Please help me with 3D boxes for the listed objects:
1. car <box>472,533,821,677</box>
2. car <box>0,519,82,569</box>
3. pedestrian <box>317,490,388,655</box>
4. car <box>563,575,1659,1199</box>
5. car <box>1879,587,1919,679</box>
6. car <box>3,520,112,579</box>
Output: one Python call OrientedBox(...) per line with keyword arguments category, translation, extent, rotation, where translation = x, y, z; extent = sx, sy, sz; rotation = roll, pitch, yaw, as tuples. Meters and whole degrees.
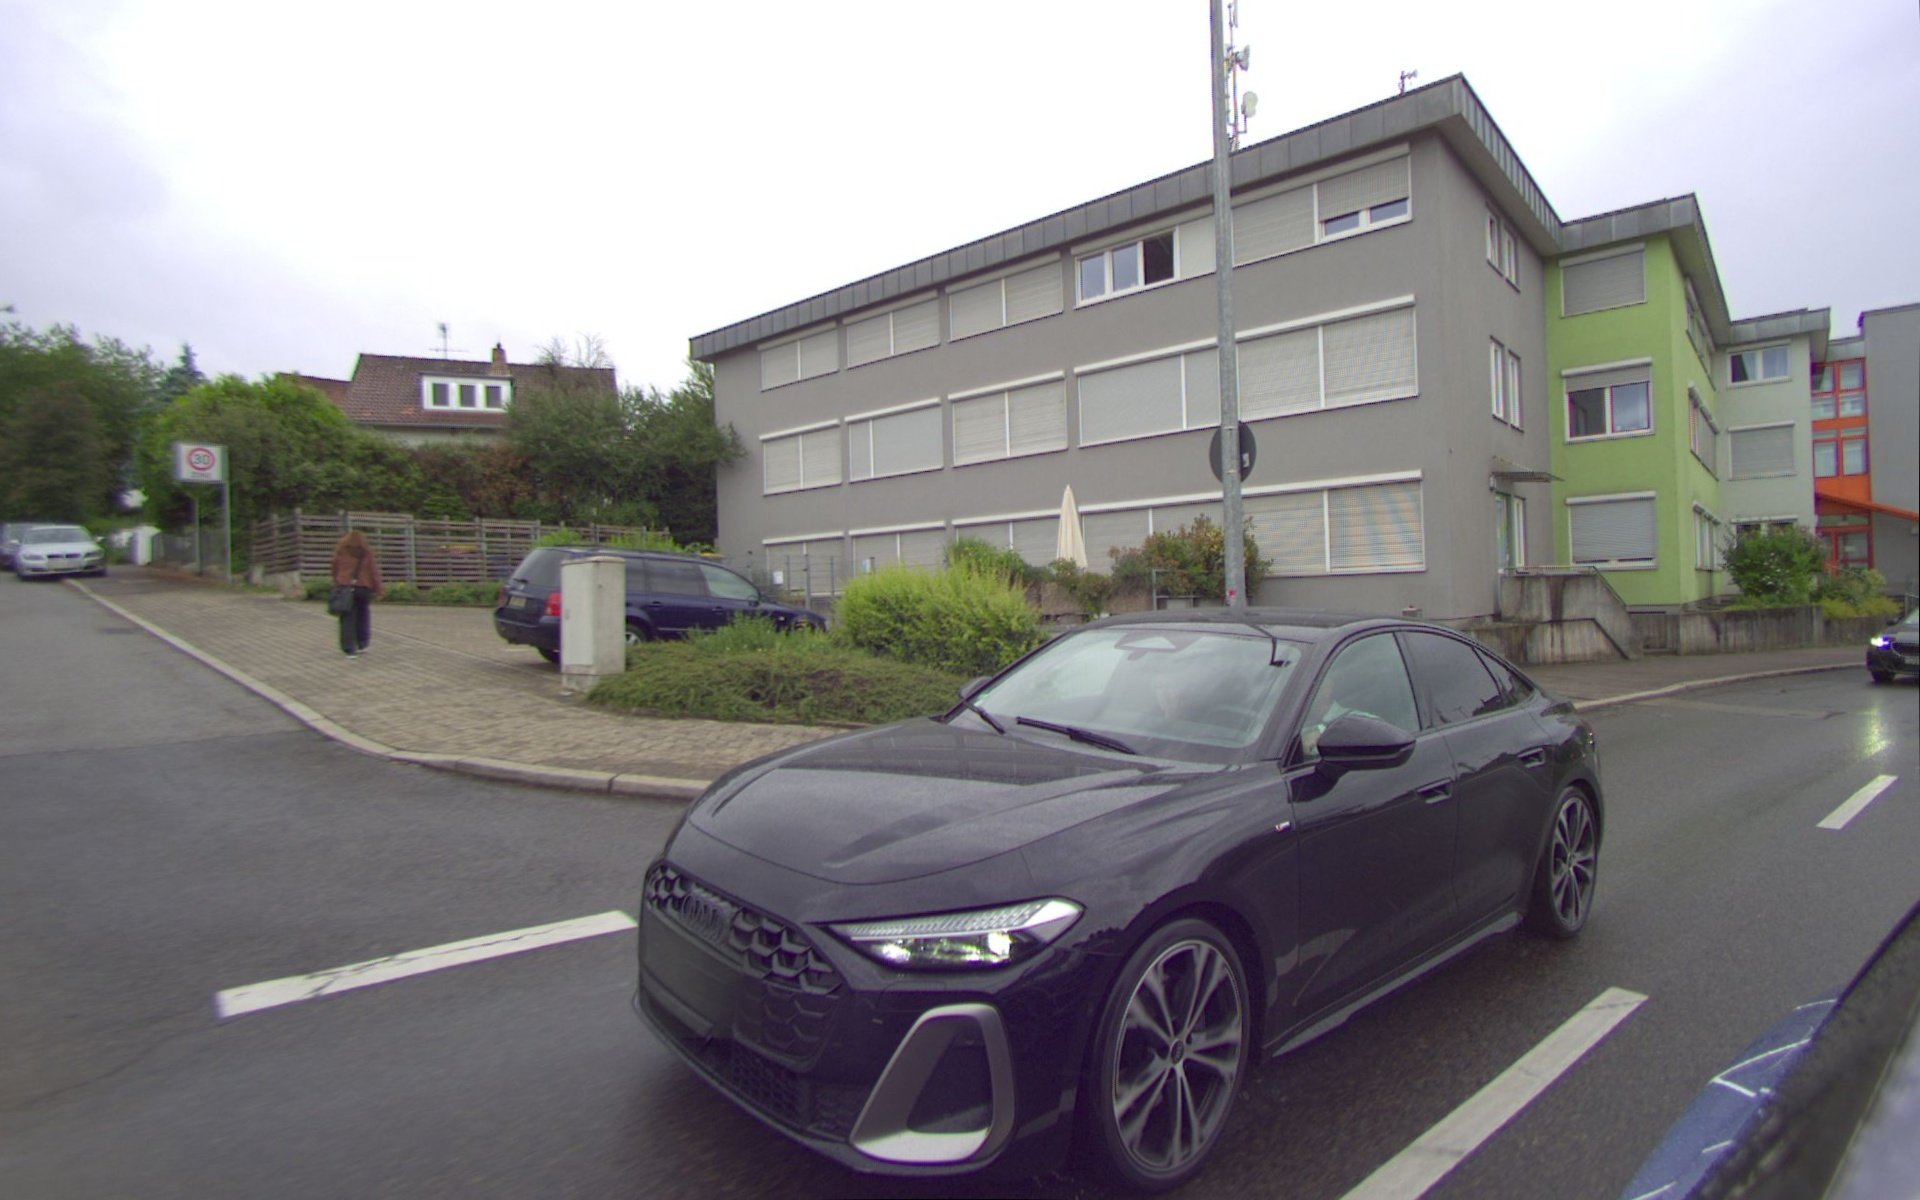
OrientedBox(category="car", translation=(-3.880, -0.056, 13.019), extent=(1.808, 1.545, 3.942), rotation=(4, 4, 41))
OrientedBox(category="car", translation=(-29.286, -1.814, 32.018), extent=(1.968, 1.492, 3.991), rotation=(-4, 6, -44))
OrientedBox(category="pedestrian", translation=(-7.768, -0.367, 12.942), extent=(0.716, 2.038, 0.605), rotation=(3, 4, 45))
OrientedBox(category="car", translation=(1.069, 0.690, 4.155), extent=(4.658, 1.442, 1.869), rotation=(-3, 1, -41))
OrientedBox(category="car", translation=(18.670, 0.535, 18.490), extent=(3.924, 1.538, 1.874), rotation=(-2, 1, -34))
OrientedBox(category="car", translation=(-24.556, -1.432, 27.489), extent=(1.968, 1.492, 3.991), rotation=(-4, 6, -44))
